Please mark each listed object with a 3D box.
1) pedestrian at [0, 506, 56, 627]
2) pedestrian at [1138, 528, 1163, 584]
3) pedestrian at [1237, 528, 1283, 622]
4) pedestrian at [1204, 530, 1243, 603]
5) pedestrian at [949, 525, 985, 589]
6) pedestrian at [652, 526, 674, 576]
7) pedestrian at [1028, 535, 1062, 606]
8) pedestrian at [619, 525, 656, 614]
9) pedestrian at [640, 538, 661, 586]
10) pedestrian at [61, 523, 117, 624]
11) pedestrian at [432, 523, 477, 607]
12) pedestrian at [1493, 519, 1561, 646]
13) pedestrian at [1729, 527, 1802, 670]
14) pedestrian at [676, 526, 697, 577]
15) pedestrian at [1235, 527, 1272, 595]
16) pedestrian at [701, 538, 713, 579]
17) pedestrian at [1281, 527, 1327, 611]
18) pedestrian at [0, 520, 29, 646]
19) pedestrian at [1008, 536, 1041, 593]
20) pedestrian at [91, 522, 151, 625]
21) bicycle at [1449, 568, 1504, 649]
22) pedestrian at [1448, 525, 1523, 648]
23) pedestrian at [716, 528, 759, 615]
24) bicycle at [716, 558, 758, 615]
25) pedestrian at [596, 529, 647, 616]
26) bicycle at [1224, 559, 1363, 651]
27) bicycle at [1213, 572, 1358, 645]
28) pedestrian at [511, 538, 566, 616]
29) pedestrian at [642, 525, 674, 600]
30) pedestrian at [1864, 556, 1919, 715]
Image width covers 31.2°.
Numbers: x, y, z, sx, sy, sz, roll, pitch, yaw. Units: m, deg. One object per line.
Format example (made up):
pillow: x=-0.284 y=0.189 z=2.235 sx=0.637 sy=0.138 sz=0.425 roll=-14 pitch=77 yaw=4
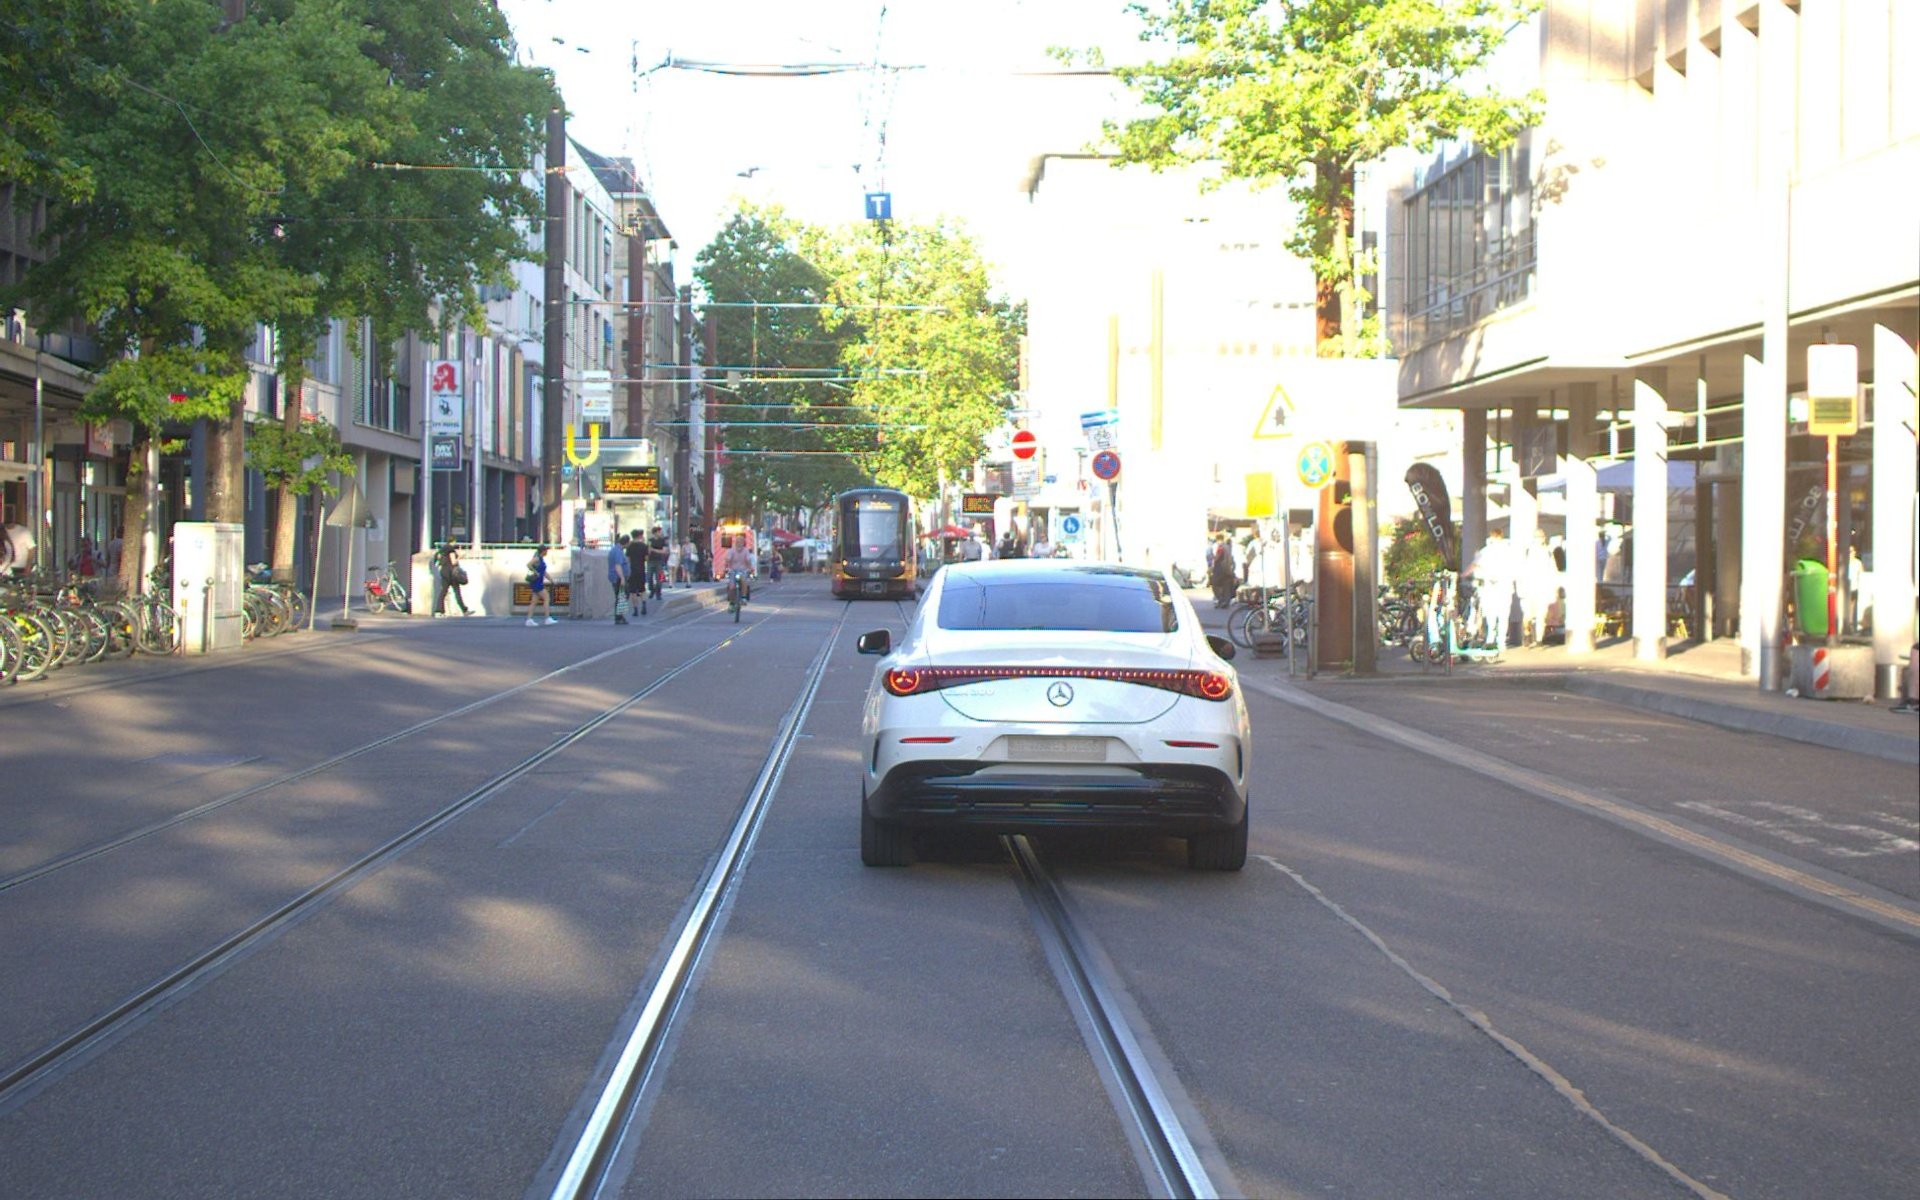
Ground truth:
pedestrian: x=-13.640 y=-0.488 z=50.157 sx=0.785 sy=1.760 sz=0.537 roll=0 pitch=1 yaw=-26
pedestrian: x=6.100 y=-1.401 z=110.162 sx=0.727 sy=1.779 sz=0.708 roll=1 pitch=1 yaw=-2
pedestrian: x=5.742 y=-0.477 z=65.842 sx=0.748 sy=1.779 sz=0.767 roll=-1 pitch=1 yaw=-2
pedestrian: x=6.024 y=-0.772 z=78.635 sx=0.838 sy=1.656 sz=0.785 roll=0 pitch=1 yaw=1
pedestrian: x=0.194 y=-1.210 z=96.971 sx=0.960 sy=1.779 sz=0.804 roll=-1 pitch=1 yaw=-2
pedestrian: x=-9.396 y=-1.555 z=108.718 sx=0.660 sy=1.593 sz=0.573 roll=0 pitch=1 yaw=-2
pedestrian: x=2.043 y=-0.717 z=82.898 sx=0.746 sy=1.692 sz=0.840 roll=0 pitch=1 yaw=-4
pedestrian: x=-7.032 y=-0.670 z=75.034 sx=0.540 sy=1.922 sz=0.571 roll=1 pitch=1 yaw=43
pedestrian: x=-10.456 y=-1.289 z=116.051 sx=0.660 sy=1.593 sz=0.573 roll=0 pitch=1 yaw=-2
pedestrian: x=-15.199 y=-0.463 z=60.025 sx=0.816 sy=1.755 sz=0.780 roll=0 pitch=1 yaw=-3
pedestrian: x=-10.489 y=-0.728 z=71.338 sx=0.837 sy=1.711 sz=0.785 roll=0 pitch=1 yaw=-3
pedestrian: x=8.265 y=-0.258 z=50.116 sx=0.701 sy=1.806 sz=1.033 roll=-3 pitch=1 yaw=-2
pedestrian: x=9.385 y=-0.027 z=40.088 sx=0.637 sy=1.647 sz=0.781 roll=1 pitch=1 yaw=0
pedestrian: x=-8.654 y=-1.545 z=108.808 sx=0.660 sy=1.593 sz=0.573 roll=0 pitch=1 yaw=-2
pedestrian: x=7.397 y=-0.992 z=86.773 sx=0.817 sy=1.679 sz=0.804 roll=-1 pitch=1 yaw=-2
pedestrian: x=-9.927 y=-1.636 z=134.846 sx=0.414 sy=1.624 sz=0.606 roll=0 pitch=1 yaw=-1
pedestrian: x=7.326 y=-0.664 z=73.204 sx=0.840 sy=1.779 sz=0.804 roll=-1 pitch=1 yaw=-2
pedestrian: x=-12.595 y=-0.225 z=44.985 sx=0.714 sy=1.634 sz=0.685 roll=0 pitch=1 yaw=-7
pedestrian: x=2.003 y=-1.109 z=107.107 sx=0.960 sy=1.779 sz=0.804 roll=-1 pitch=1 yaw=-2
pedestrian: x=-14.337 y=-0.457 z=58.730 sx=0.723 sy=1.755 sz=0.818 roll=0 pitch=1 yaw=-36
bicycle: x=7.537 y=0.111 z=50.203 sx=0.564 sy=1.124 sz=1.929 roll=-1 pitch=1 yaw=2
pedestrian: x=7.686 y=-0.200 z=50.280 sx=0.899 sy=1.739 sz=0.690 roll=-3 pitch=1 yaw=-2
pedestrian: x=-4.668 y=-0.600 z=72.134 sx=0.800 sy=1.776 sz=0.849 roll=2 pitch=1 yaw=-2
bicycle: x=-4.679 y=-0.284 z=72.144 sx=0.800 sy=1.138 sz=2.257 roll=2 pitch=1 yaw=-3
pedestrian: x=-6.660 y=-0.545 z=67.669 sx=0.905 sy=1.692 sz=0.849 roll=0 pitch=1 yaw=-1
bicycle: x=4.850 y=0.067 z=50.010 sx=1.907 sy=1.277 sz=0.610 roll=-1 pitch=1 yaw=-12
bicycle: x=5.017 y=0.130 z=52.999 sx=2.113 sy=1.092 sz=0.610 roll=1 pitch=0 yaw=-12
pedestrian: x=-8.195 y=-0.456 z=66.872 sx=0.955 sy=1.491 sz=0.944 roll=0 pitch=1 yaw=-1
pedestrian: x=-7.109 y=-0.890 z=80.886 sx=0.550 sy=1.754 sz=0.520 roll=1 pitch=1 yaw=27
pedestrian: x=8.603 y=0.306 z=30.421 sx=0.833 sy=1.372 sz=0.778 roll=1 pitch=1 yaw=-24
